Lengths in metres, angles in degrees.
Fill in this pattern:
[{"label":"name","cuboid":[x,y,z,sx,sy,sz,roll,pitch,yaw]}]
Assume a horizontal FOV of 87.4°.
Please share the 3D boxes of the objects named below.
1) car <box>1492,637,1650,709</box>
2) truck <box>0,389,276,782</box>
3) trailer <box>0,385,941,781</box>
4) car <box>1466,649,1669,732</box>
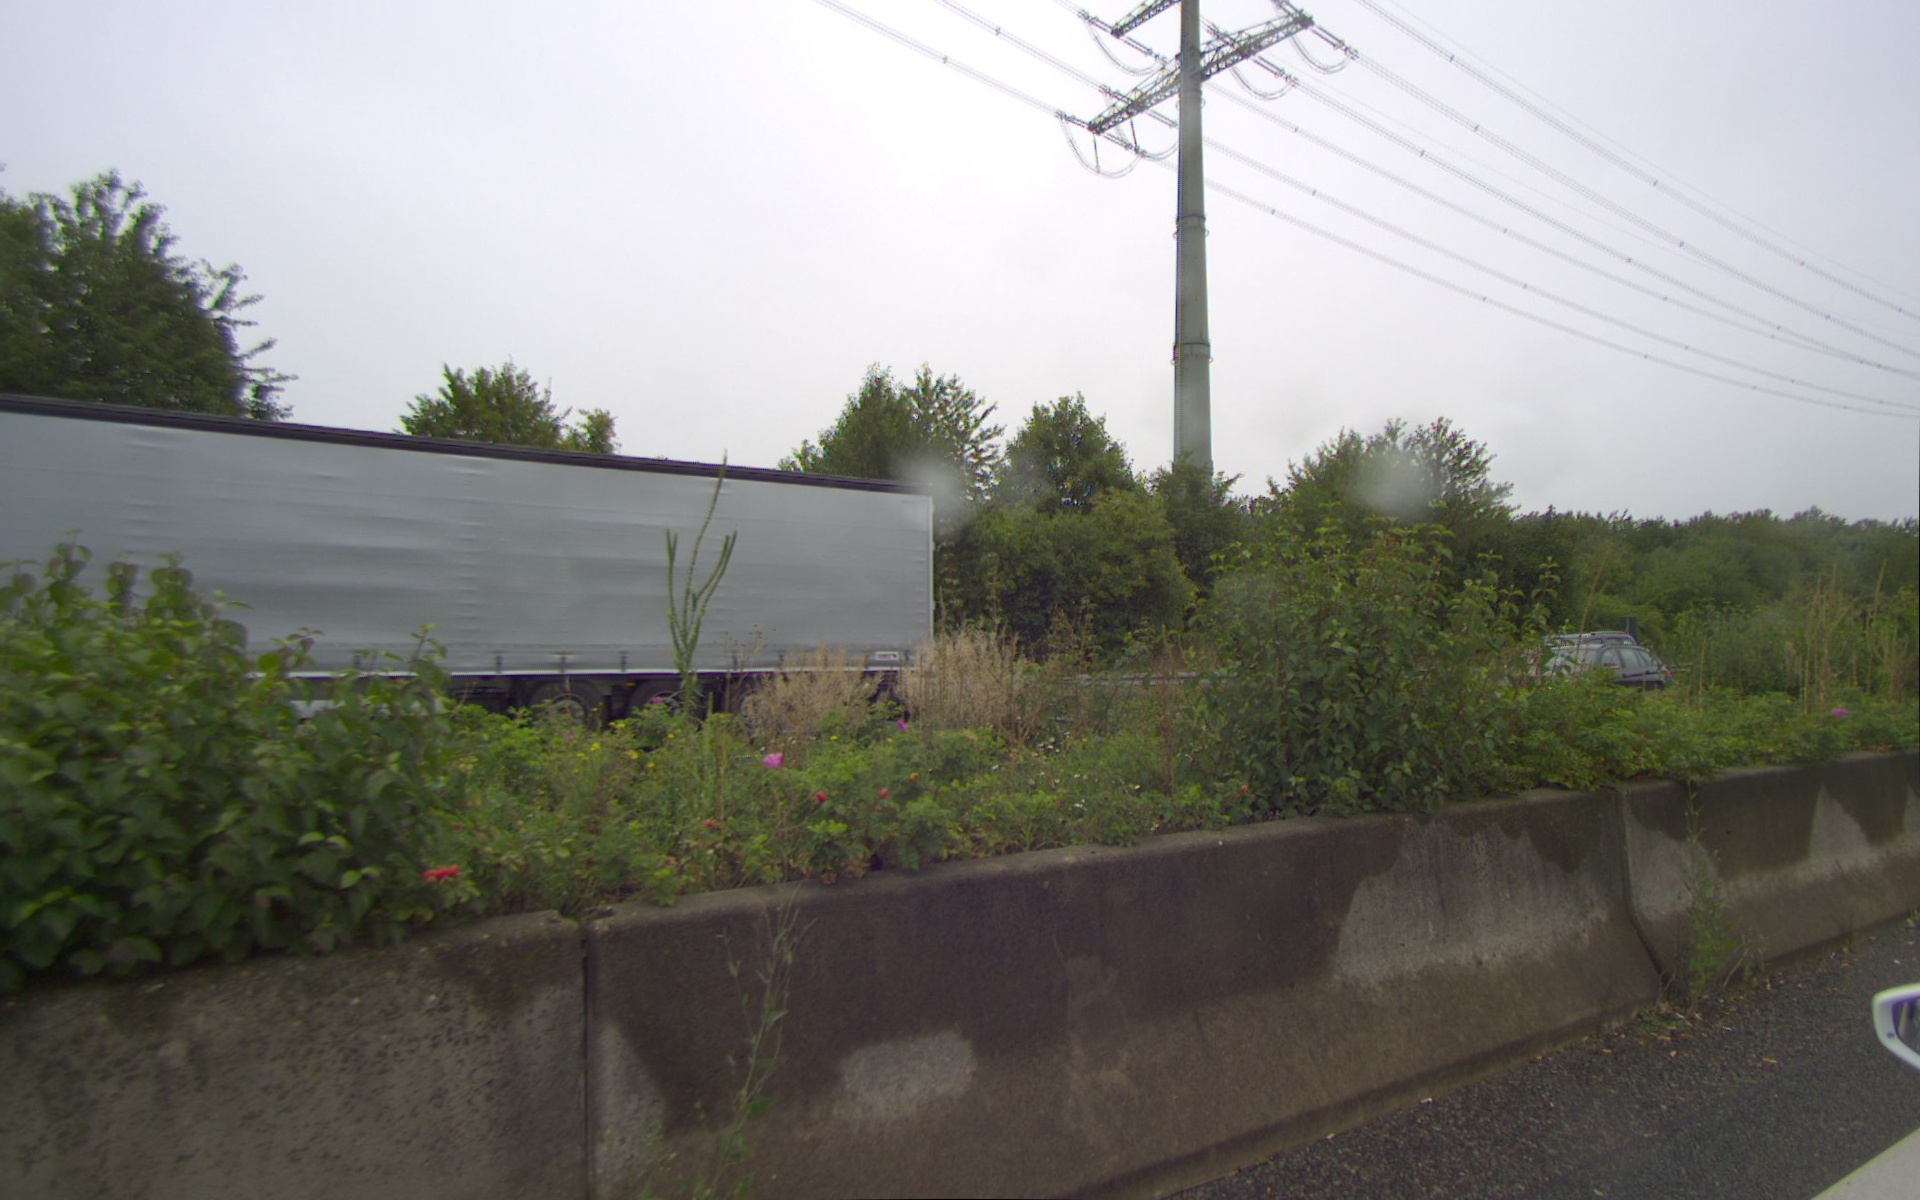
[{"label":"car","cuboid":[16.325,1.889,26.831,3.953,1.771,1.984,1,-2,-30]},{"label":"truck","cuboid":[-11.869,-0.115,10.834,7.151,4.076,2.773,1,-4,-31]},{"label":"trailer","cuboid":[-6.612,-0.008,13.940,13.099,4.076,2.772,1,-4,-31]},{"label":"car","cuboid":[12.044,1.716,19.882,3.953,1.468,1.784,1,-2,-30]}]
